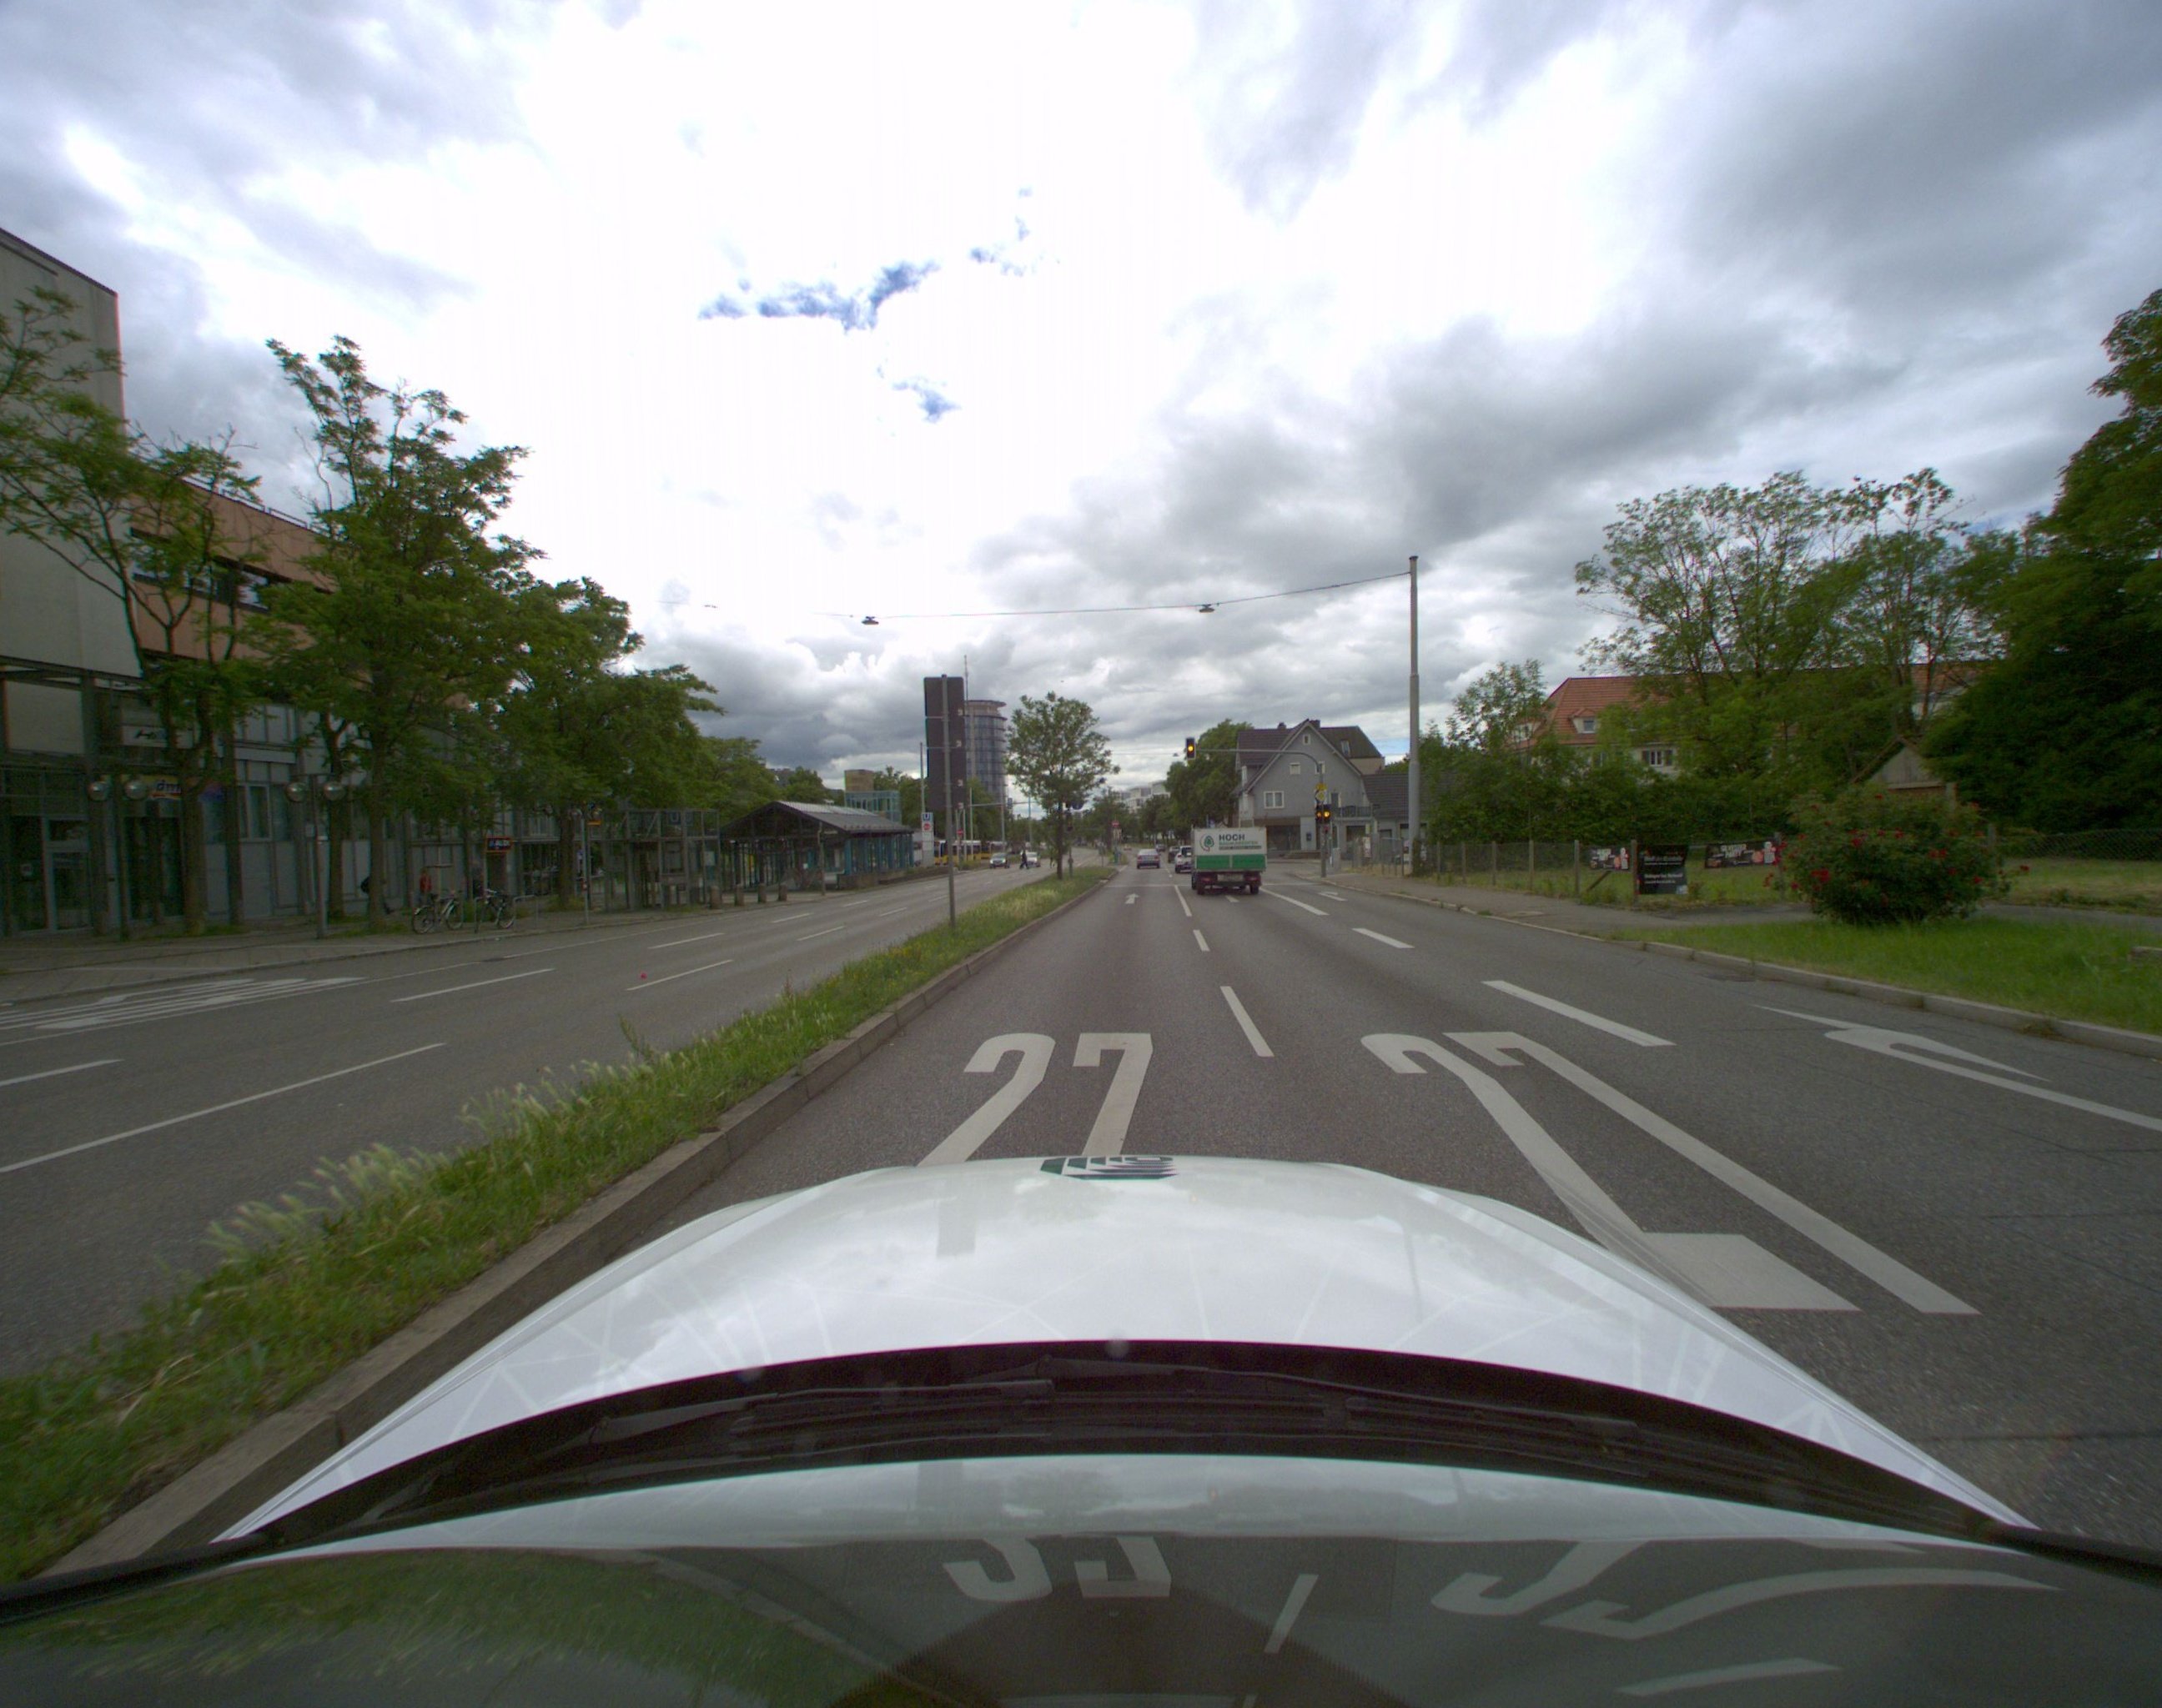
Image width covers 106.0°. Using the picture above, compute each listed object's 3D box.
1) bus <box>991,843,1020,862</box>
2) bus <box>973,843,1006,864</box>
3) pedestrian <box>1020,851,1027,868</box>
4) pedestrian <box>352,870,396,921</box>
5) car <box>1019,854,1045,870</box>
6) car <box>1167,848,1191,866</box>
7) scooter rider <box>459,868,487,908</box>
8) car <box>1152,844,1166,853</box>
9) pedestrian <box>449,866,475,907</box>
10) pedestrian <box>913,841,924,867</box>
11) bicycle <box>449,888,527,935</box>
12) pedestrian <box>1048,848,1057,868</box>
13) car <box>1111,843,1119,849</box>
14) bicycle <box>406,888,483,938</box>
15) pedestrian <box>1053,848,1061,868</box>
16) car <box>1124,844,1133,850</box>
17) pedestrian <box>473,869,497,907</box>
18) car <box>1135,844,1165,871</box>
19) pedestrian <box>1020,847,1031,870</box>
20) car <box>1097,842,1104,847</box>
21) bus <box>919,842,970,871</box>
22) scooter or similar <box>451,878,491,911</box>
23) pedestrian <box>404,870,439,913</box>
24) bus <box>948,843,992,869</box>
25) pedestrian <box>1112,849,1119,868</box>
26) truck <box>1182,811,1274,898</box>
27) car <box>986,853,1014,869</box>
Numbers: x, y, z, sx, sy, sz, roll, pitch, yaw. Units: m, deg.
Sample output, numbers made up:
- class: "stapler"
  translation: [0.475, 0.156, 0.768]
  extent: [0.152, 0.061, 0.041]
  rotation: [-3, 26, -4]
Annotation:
- class: "bus"
  translation: [-14.392, -0.291, 155.814]
  extent: [2.815, 3.430, 10.762]
  rotation: [-2, 0, 9]
- class: "bus"
  translation: [-16.158, -0.141, 145.171]
  extent: [2.815, 3.430, 10.762]
  rotation: [-2, 0, 9]
- class: "pedestrian"
  translation: [-5.081, 0.490, 71.982]
  extent: [0.541, 1.496, 0.487]
  rotation: [-2, 0, 0]
- class: "pedestrian"
  translation: [-24.644, 1.429, 28.391]
  extent: [0.768, 1.716, 0.886]
  rotation: [0, 0, -4]
- class: "car"
  translation: [-4.828, 0.777, 80.369]
  extent: [1.985, 1.486, 4.005]
  rotation: [-2, 0, 4]
- class: "car"
  translation: [8.895, 0.231, 74.113]
  extent: [1.984, 1.552, 4.006]
  rotation: [-1, 0, 5]
- class: "scooter rider"
  translation: [-24.081, 1.343, 32.263]
  extent: [0.522, 1.545, 0.708]
  rotation: [0, 0, 8]
- class: "car"
  translation: [14.497, -1.075, 150.891]
  extent: [1.989, 1.552, 3.995]
  rotation: [-2, 0, -4]
- class: "pedestrian"
  translation: [-26.621, 1.377, 35.032]
  extent: [0.563, 1.727, 0.679]
  rotation: [-2, 0, -3]
- class: "pedestrian"
  translation: [-12.889, 0.034, 64.508]
  extent: [0.679, 2.013, 0.646]
  rotation: [-2, 0, 1]
- class: "bicycle"
  translation: [-15.676, 1.498, 21.606]
  extent: [0.830, 1.083, 1.930]
  rotation: [-2, 0, -9]
- class: "pedestrian"
  translation: [-2.502, 0.352, 71.704]
  extent: [0.743, 1.716, 0.582]
  rotation: [-2, 0, -2]
- class: "car"
  translation: [8.537, -2.066, 205.156]
  extent: [1.986, 1.519, 4.002]
  rotation: [-2, 0, 2]
- class: "bicycle"
  translation: [-16.783, 1.531, 21.536]
  extent: [0.713, 1.136, 1.950]
  rotation: [-2, 0, -9]
- class: "pedestrian"
  translation: [-2.105, 0.343, 71.104]
  extent: [0.651, 1.716, 0.452]
  rotation: [-2, 0, -2]
- class: "car"
  translation: [11.475, -1.719, 198.386]
  extent: [1.986, 1.519, 4.002]
  rotation: [-2, 0, 2]
- class: "pedestrian"
  translation: [-25.826, 1.465, 35.303]
  extent: [0.516, 1.589, 0.679]
  rotation: [-2, 0, -3]
- class: "car"
  translation: [4.936, 0.208, 57.987]
  extent: [1.984, 1.830, 4.006]
  rotation: [-1, 0, 5]
- class: "pedestrian"
  translation: [-4.860, 0.385, 71.187]
  extent: [0.827, 2.013, 0.545]
  rotation: [-2, 0, -2]
- class: "car"
  translation: [6.288, -2.964, 259.352]
  extent: [1.988, 1.519, 3.997]
  rotation: [-2, 0, -2]
- class: "bus"
  translation: [-17.134, 0.276, 103.261]
  extent: [2.815, 3.430, 10.762]
  rotation: [-2, 0, 9]
- class: "scooter or similar"
  translation: [-24.089, 1.587, 32.164]
  extent: [0.477, 1.267, 1.291]
  rotation: [0, 0, 9]
- class: "pedestrian"
  translation: [-25.412, 1.428, 31.395]
  extent: [0.633, 1.586, 0.824]
  rotation: [-2, 0, -5]
- class: "bus"
  translation: [-15.288, 0.226, 113.202]
  extent: [2.815, 3.430, 10.762]
  rotation: [-2, 0, 9]
- class: "pedestrian"
  translation: [3.128, 0.418, 74.127]
  extent: [0.582, 1.716, 0.545]
  rotation: [-2, 0, -2]
- class: "truck"
  translation: [4.868, -0.056, 28.012]
  extent: [2.459, 2.611, 6.557]
  rotation: [-1, 1, 5]
- class: "car"
  translation: [-8.044, 0.678, 81.069]
  extent: [1.985, 1.486, 4.005]
  rotation: [-2, 0, 4]
